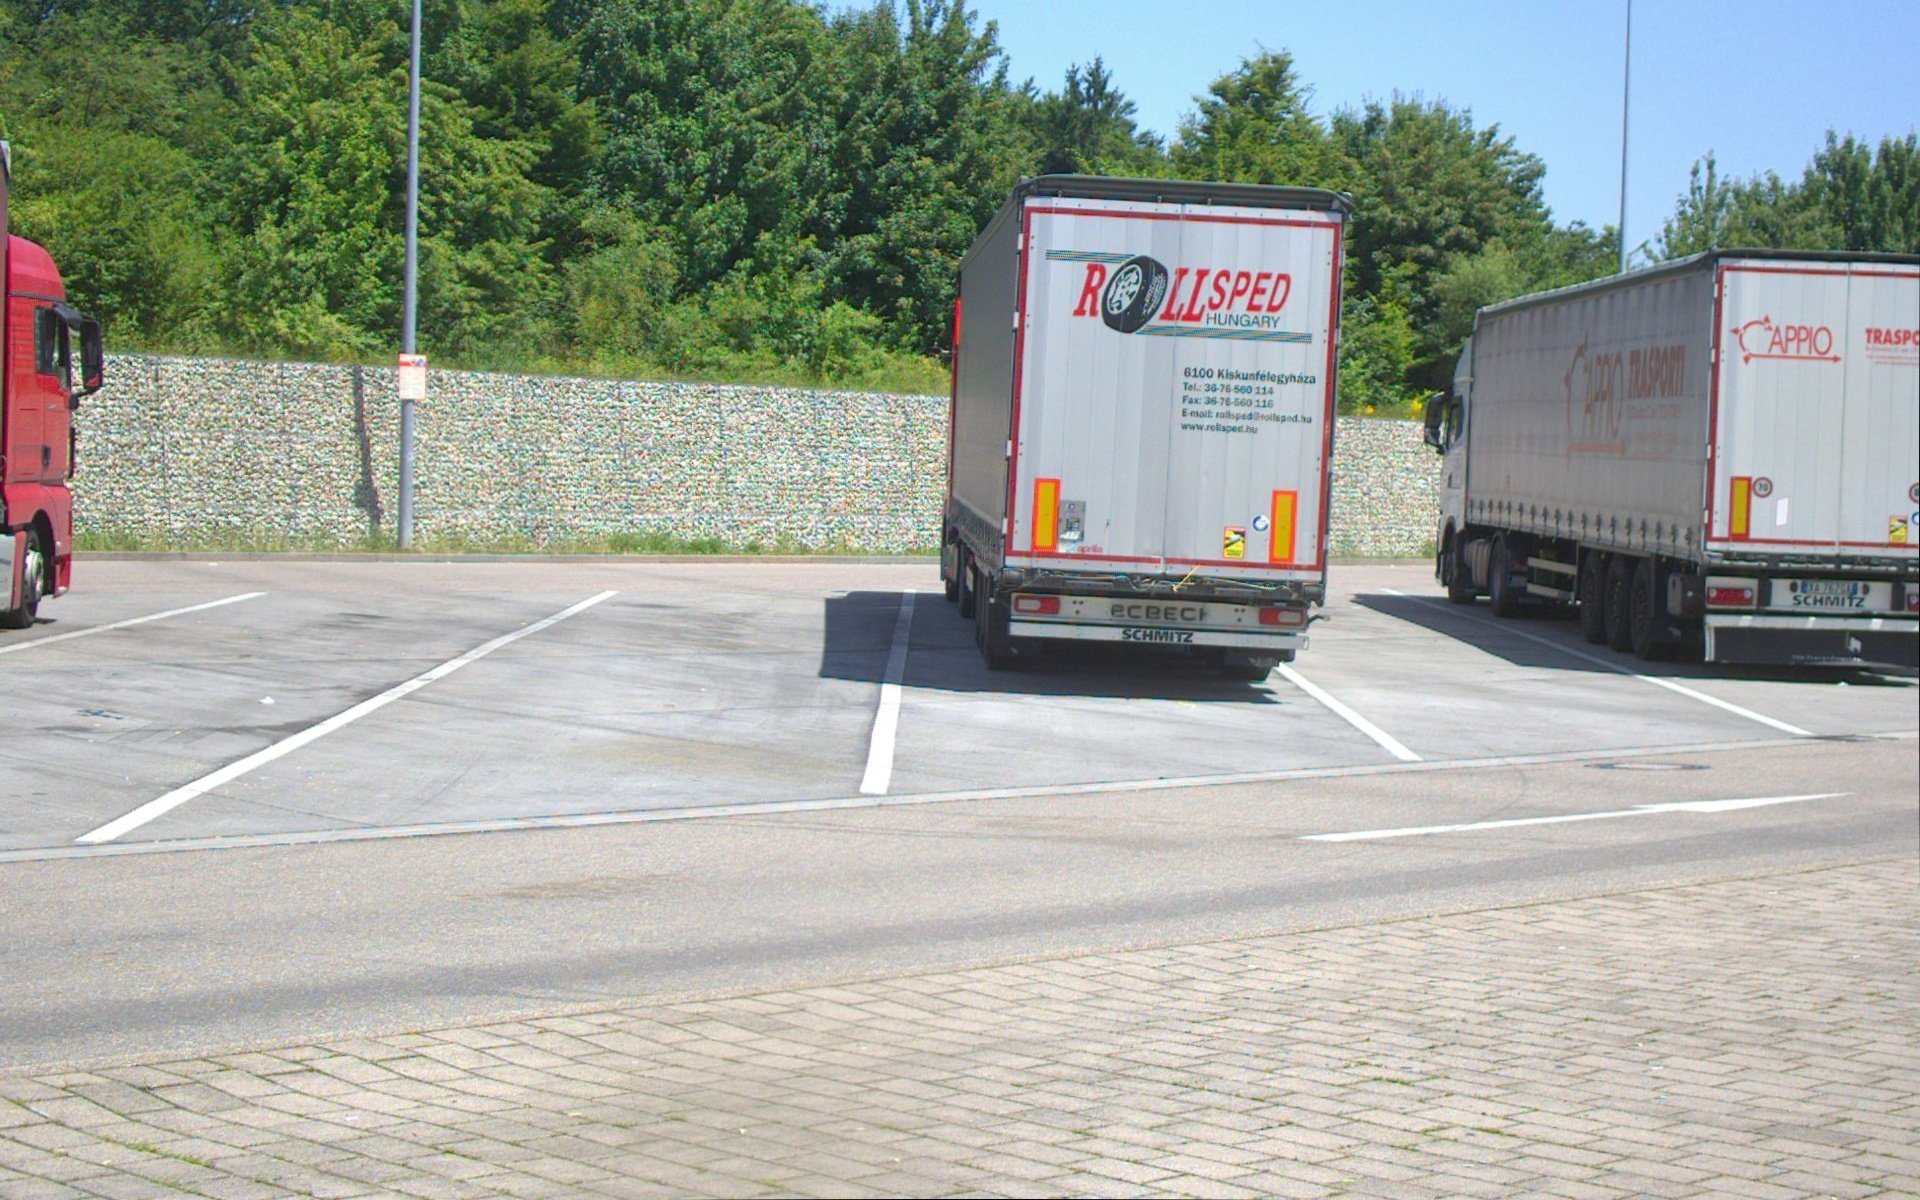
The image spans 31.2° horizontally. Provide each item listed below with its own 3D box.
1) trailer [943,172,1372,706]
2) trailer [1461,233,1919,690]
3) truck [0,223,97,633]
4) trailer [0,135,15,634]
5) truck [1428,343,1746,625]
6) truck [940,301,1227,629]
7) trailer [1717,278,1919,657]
[{"bbox_3d":[1.466,-1.565,33.107,2.858,3.958,13.765,2,3,-1],"label":"trailer"},{"bbox_3d":[8.196,-1.585,38.361,2.858,4.095,13.765,2,3,-1],"label":"trailer"},{"bbox_3d":[-9.245,-1.453,28.186,2.812,3.351,5.975,2,3,-1],"label":"truck"},{"bbox_3d":[-9.157,-1.464,21.366,2.821,4.057,13.765,2,3,-1],"label":"trailer"},{"bbox_3d":[8.094,-1.565,45.127,2.865,3.351,5.975,2,3,-1],"label":"truck"},{"bbox_3d":[1.283,-1.569,39.309,2.865,3.351,5.975,2,3,-1],"label":"truck"},{"bbox_3d":[11.793,-1.501,39.373,2.858,4.095,13.765,2,3,-1],"label":"trailer"}]
